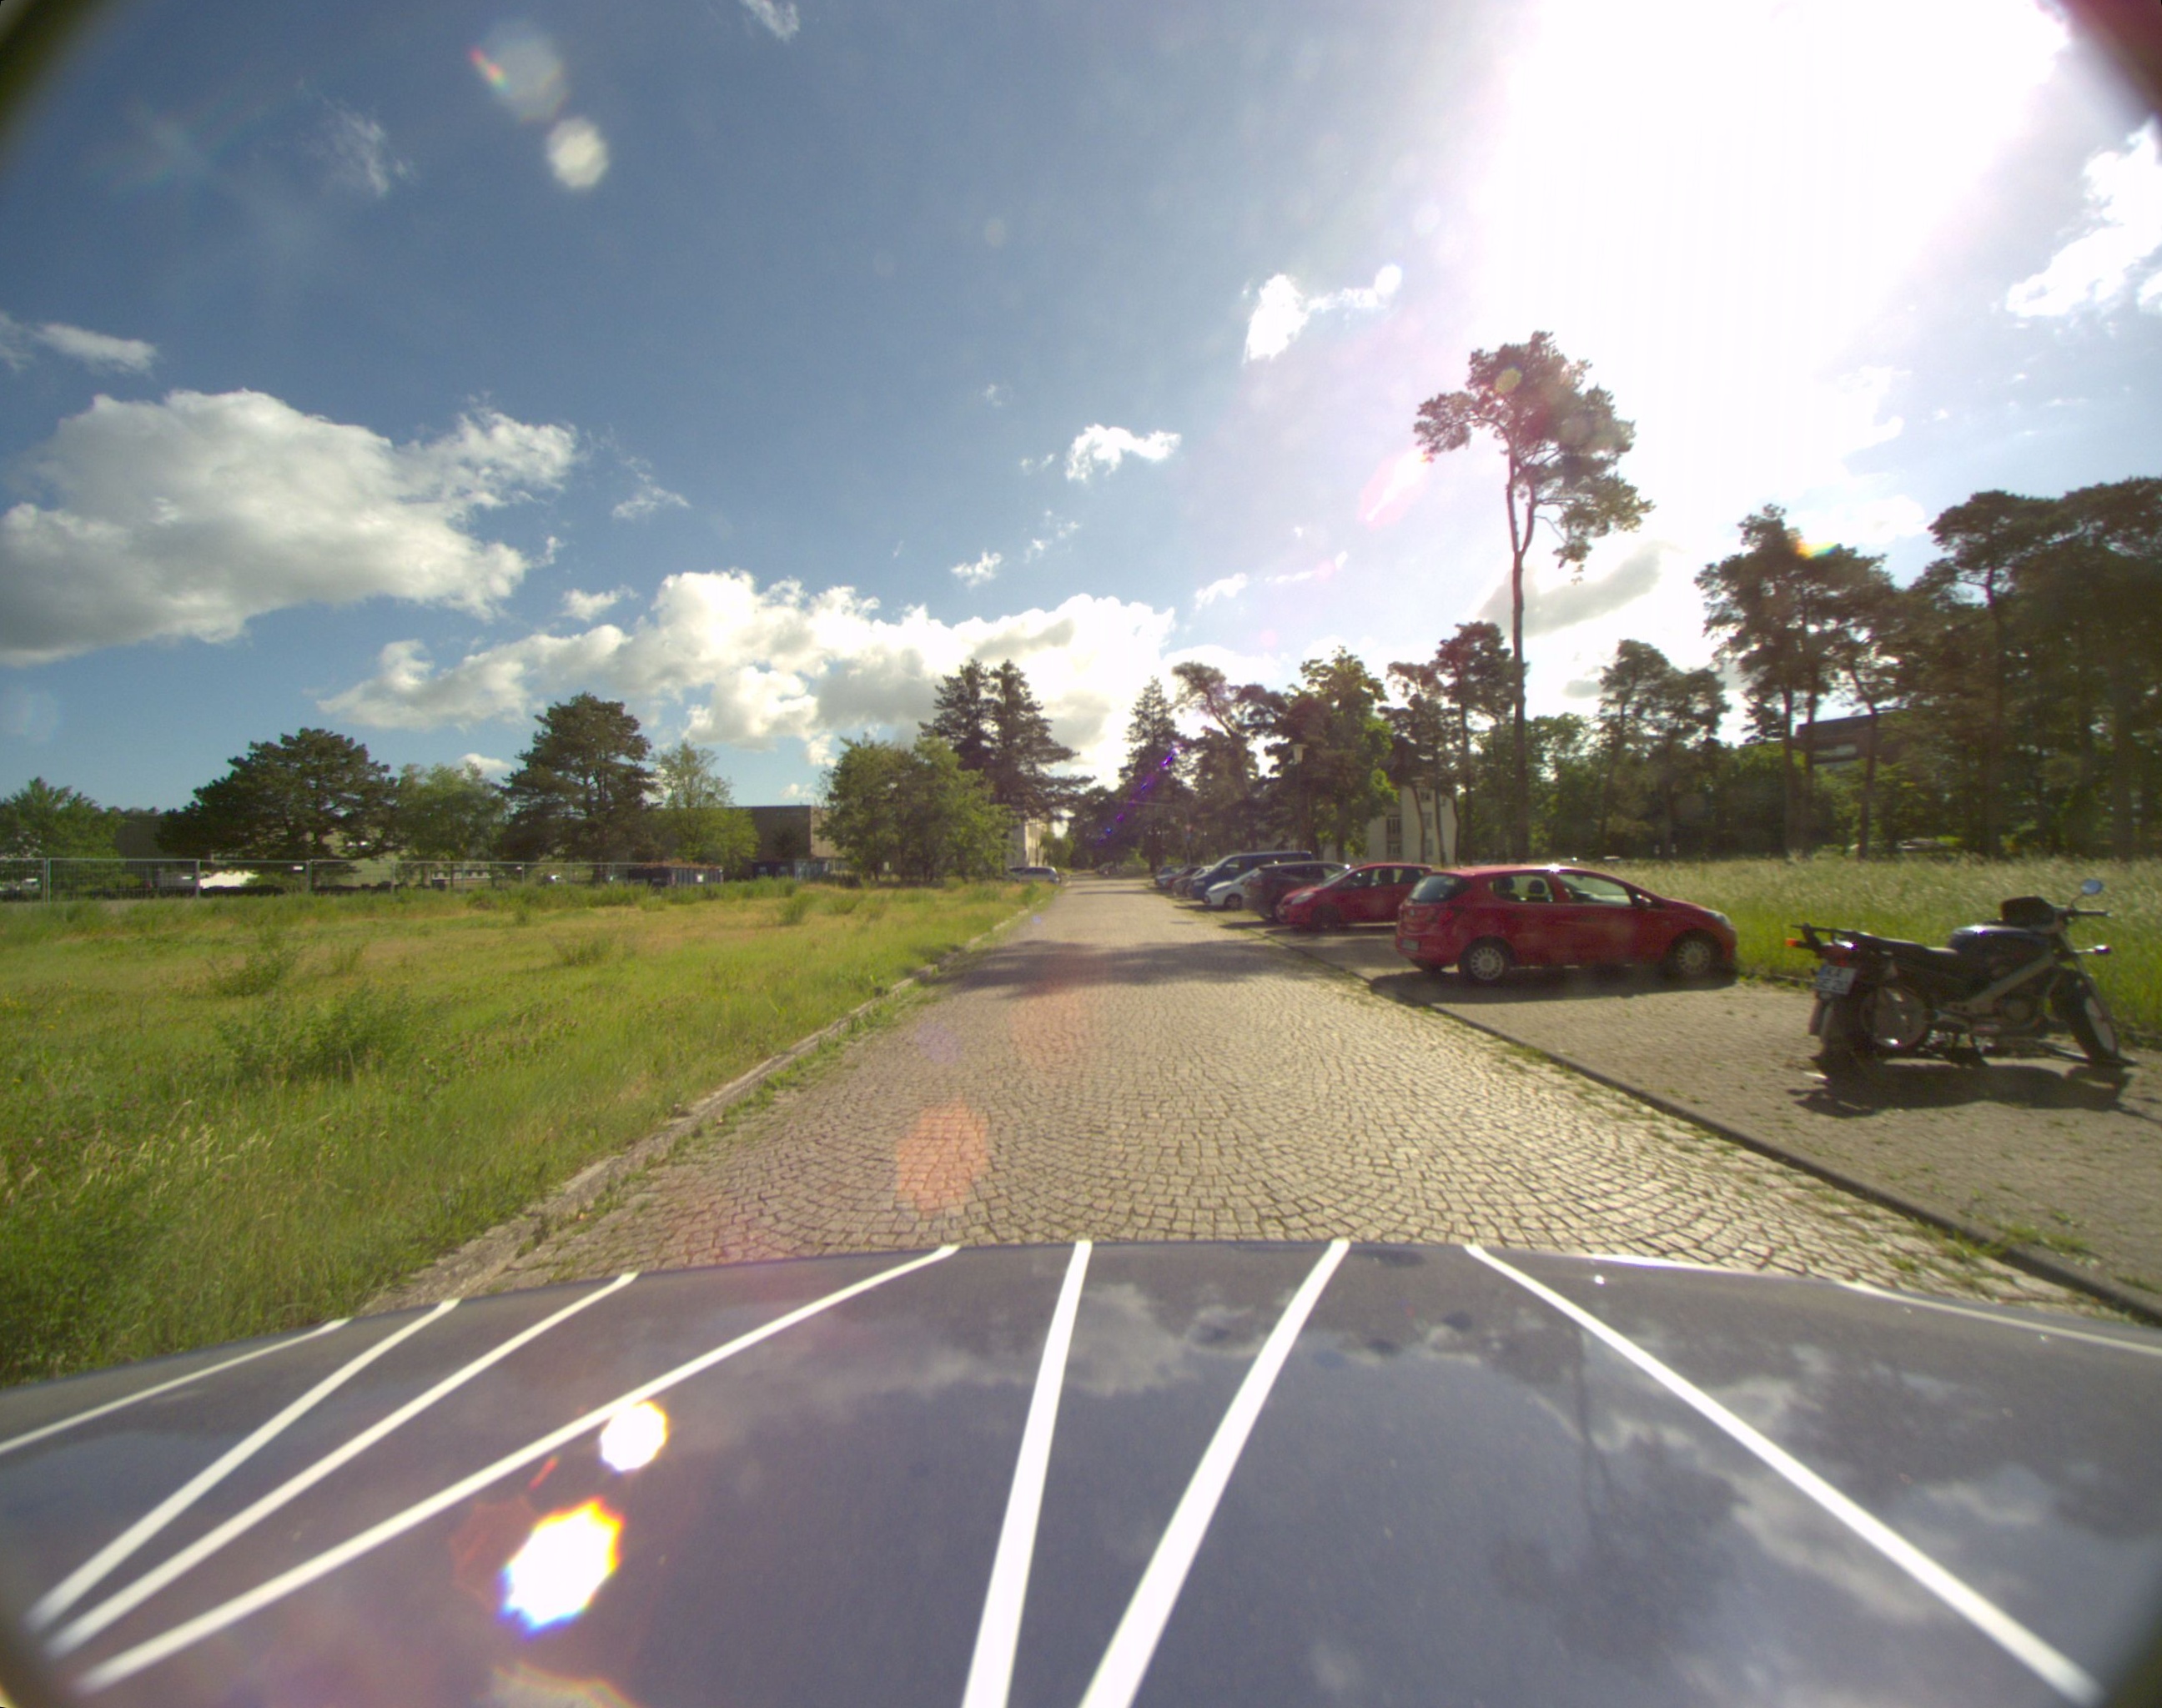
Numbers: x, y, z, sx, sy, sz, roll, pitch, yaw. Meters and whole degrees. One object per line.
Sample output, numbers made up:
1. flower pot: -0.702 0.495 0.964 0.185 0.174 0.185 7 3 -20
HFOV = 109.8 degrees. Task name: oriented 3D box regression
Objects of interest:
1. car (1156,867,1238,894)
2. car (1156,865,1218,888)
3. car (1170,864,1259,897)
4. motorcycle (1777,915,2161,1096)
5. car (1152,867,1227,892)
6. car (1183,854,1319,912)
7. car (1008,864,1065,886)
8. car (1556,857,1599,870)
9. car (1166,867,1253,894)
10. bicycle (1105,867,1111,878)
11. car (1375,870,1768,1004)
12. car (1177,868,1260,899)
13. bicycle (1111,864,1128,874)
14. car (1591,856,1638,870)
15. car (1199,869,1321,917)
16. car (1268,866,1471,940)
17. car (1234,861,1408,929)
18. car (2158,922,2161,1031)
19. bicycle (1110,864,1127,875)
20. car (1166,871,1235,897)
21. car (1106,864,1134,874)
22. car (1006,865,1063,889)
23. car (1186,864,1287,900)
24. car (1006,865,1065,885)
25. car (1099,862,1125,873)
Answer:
1. car: 7.205 1.653 47.628 4.876 1.412 1.938 -2 0 2
2. car: 7.356 1.559 52.961 4.037 1.474 1.949 -2 -1 0
3. car: 6.519 1.298 37.426 4.086 1.416 1.923 -2 -1 3
4. motorcycle: 6.447 1.066 5.479 2.247 1.155 0.577 -2 0 3
5. car: 7.133 1.663 50.349 4.593 1.443 1.984 -2 0 -2
6. car: 6.460 1.087 29.221 4.729 1.956 2.006 -2 0 1
7. car: -3.183 1.514 55.062 4.014 1.432 1.844 2 -1 0
8. car: 61.314 1.132 93.897 4.104 1.571 1.720 0 0 3
9. car: 7.579 1.562 45.271 4.876 1.412 1.939 -2 0 2
10. bicycle: 3.498 2.396 98.514 0.621 1.342 2.114 -3 0 -3
11. car: 6.205 1.006 9.980 3.933 1.452 1.842 -2 -1 0
12. car: 7.246 1.542 40.299 4.086 1.443 1.822 -2 1 3
13. bicycle: 5.277 2.112 104.069 2.114 1.276 0.621 -3 0 -5
14. car: 60.579 1.019 86.316 4.055 1.620 1.841 0 0 3
15. car: 6.227 1.350 26.649 3.826 1.431 1.683 -2 0 -1
16. car: 6.538 1.086 17.571 3.933 1.440 1.867 -2 -1 0
17. car: 6.312 1.077 20.309 3.963 1.558 1.974 -2 -1 0
18. car: 6.361 0.920 2.107 3.932 1.424 1.843 -2 -1 3
19. bicycle: 4.998 2.065 101.824 2.113 1.276 0.621 -6 0 -1
20. car: 6.705 1.695 42.983 3.639 1.227 1.760 -2 0 3
21. car: 6.031 2.304 116.661 4.044 1.514 1.817 0 0 -7
22. car: -3.174 1.552 52.316 3.750 1.467 1.752 2 0 0
23. car: 6.987 1.251 34.531 4.206 1.466 1.824 -2 -1 1
24. car: -3.579 1.675 60.306 4.525 1.456 1.838 1 0 -1
25. car: 5.472 2.364 134.035 4.226 1.902 1.817 0 0 -9
